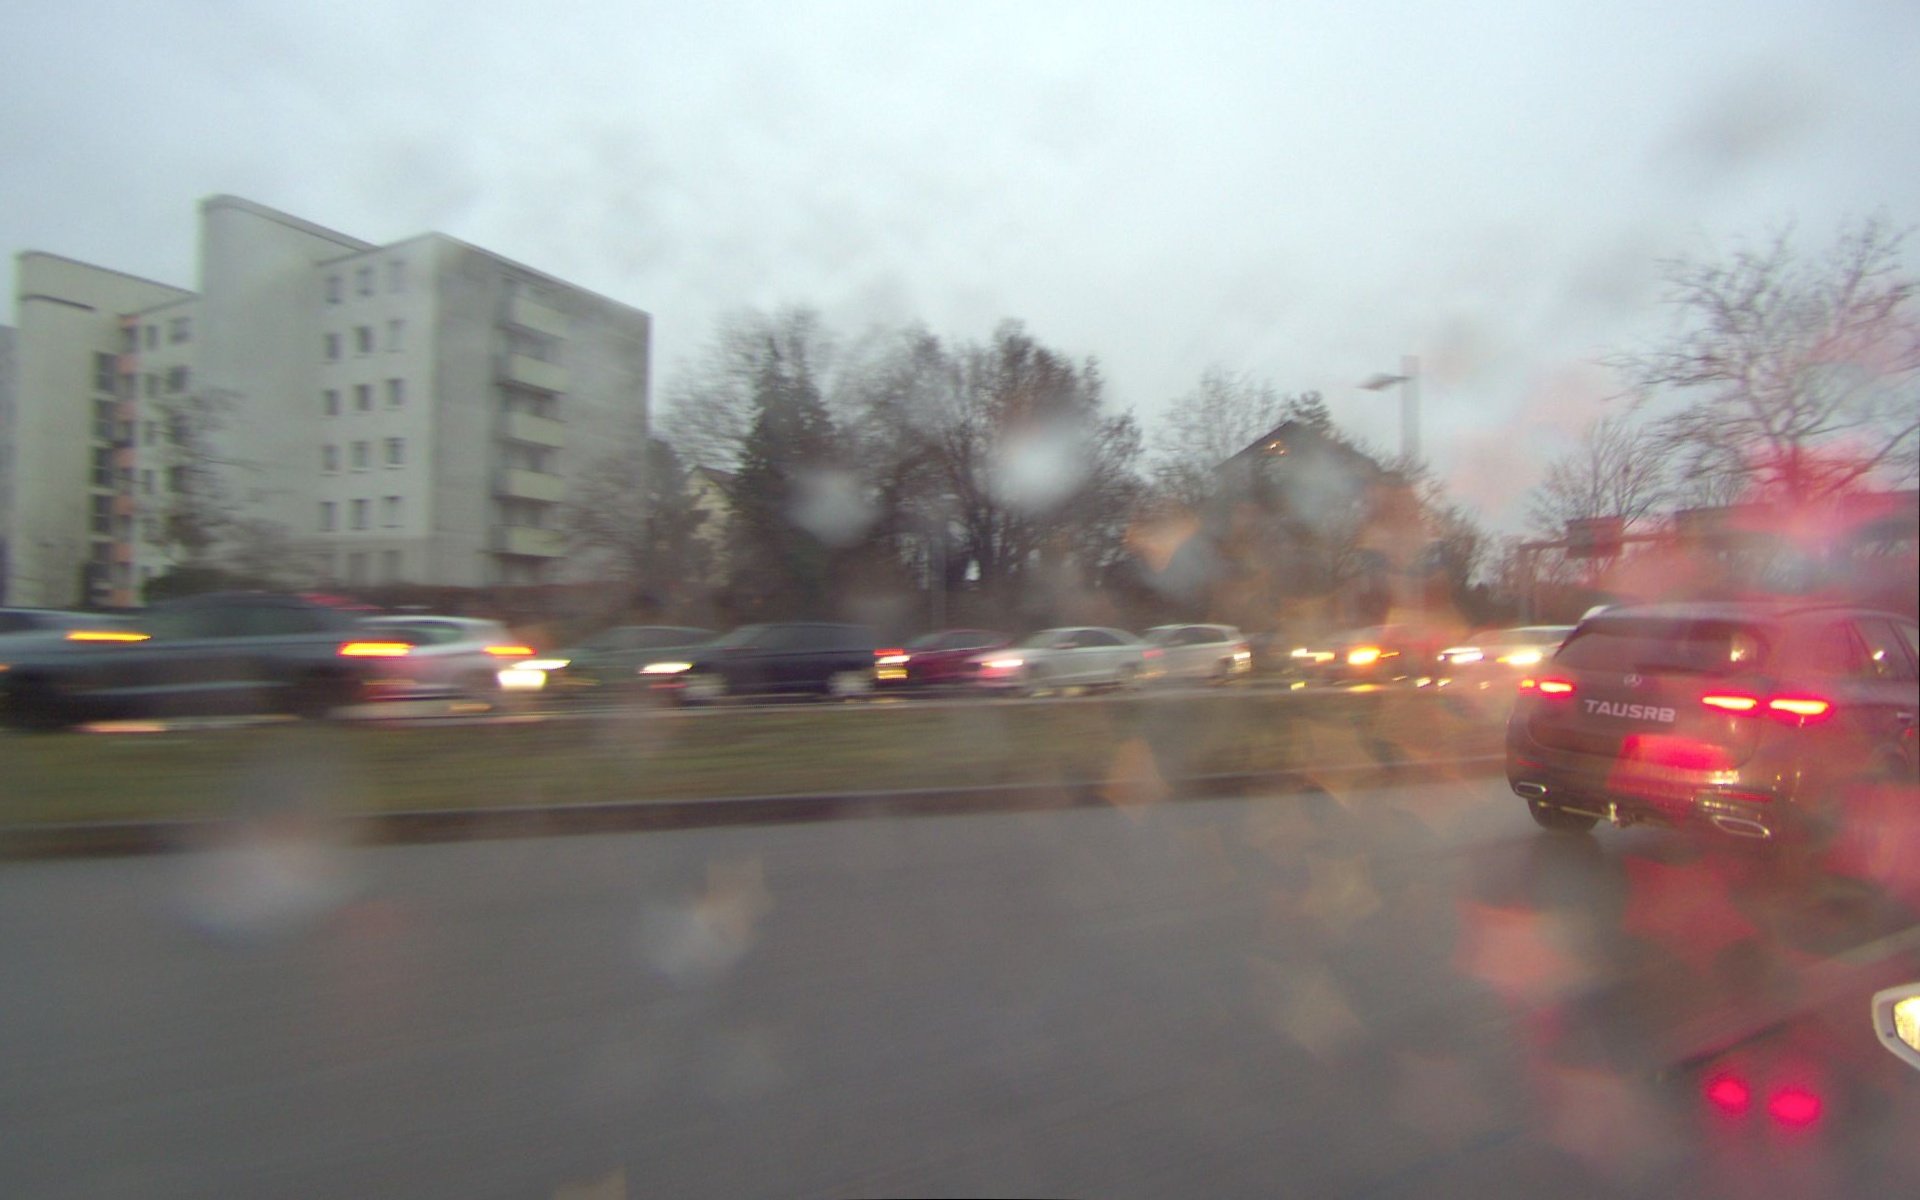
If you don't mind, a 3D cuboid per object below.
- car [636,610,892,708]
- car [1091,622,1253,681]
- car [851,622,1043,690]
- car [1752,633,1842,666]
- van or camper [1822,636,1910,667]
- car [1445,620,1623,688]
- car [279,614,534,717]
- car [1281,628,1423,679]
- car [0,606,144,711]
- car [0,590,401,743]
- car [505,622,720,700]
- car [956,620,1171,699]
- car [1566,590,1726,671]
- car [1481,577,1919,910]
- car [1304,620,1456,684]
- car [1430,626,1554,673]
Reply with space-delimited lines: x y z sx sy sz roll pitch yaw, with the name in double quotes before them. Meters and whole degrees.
"car" -3.550 1.026 18.384 4.237 1.620 1.848 1 -2 -31
"car" 5.884 1.378 27.724 4.388 1.515 1.761 1 -2 -31
"car" -0.279 1.307 24.268 4.388 1.515 1.761 1 -2 -31
"car" 39.739 2.333 47.680 4.390 1.466 1.895 2 -1 -30
"van or camper" 46.263 2.599 51.272 5.098 1.466 1.895 2 -1 -30
"car" 14.372 1.295 25.075 4.784 1.557 1.761 1 -2 -31
"car" -8.502 0.960 15.600 3.288 1.439 1.644 1 -2 -31
"car" 12.370 1.654 31.614 4.596 1.509 1.761 1 -2 -31
"car" -15.290 0.882 15.527 3.902 1.574 1.761 1 -2 -31
"car" -9.146 0.745 12.218 4.034 1.602 1.847 1 -2 -32
"car" -6.981 1.187 20.268 3.864 1.446 1.613 1 -2 -31
"car" 2.268 1.224 21.678 4.473 1.553 1.761 1 -2 -31
"car" 27.797 1.250 40.622 7.257 3.044 2.282 2 -1 -29
"car" 5.795 0.790 6.938 4.413 1.669 1.814 2 -2 -30
"car" 11.271 1.349 26.893 3.986 1.607 1.761 1 -2 -31
"car" 18.662 1.688 35.195 4.392 1.557 1.762 1 -2 -29
